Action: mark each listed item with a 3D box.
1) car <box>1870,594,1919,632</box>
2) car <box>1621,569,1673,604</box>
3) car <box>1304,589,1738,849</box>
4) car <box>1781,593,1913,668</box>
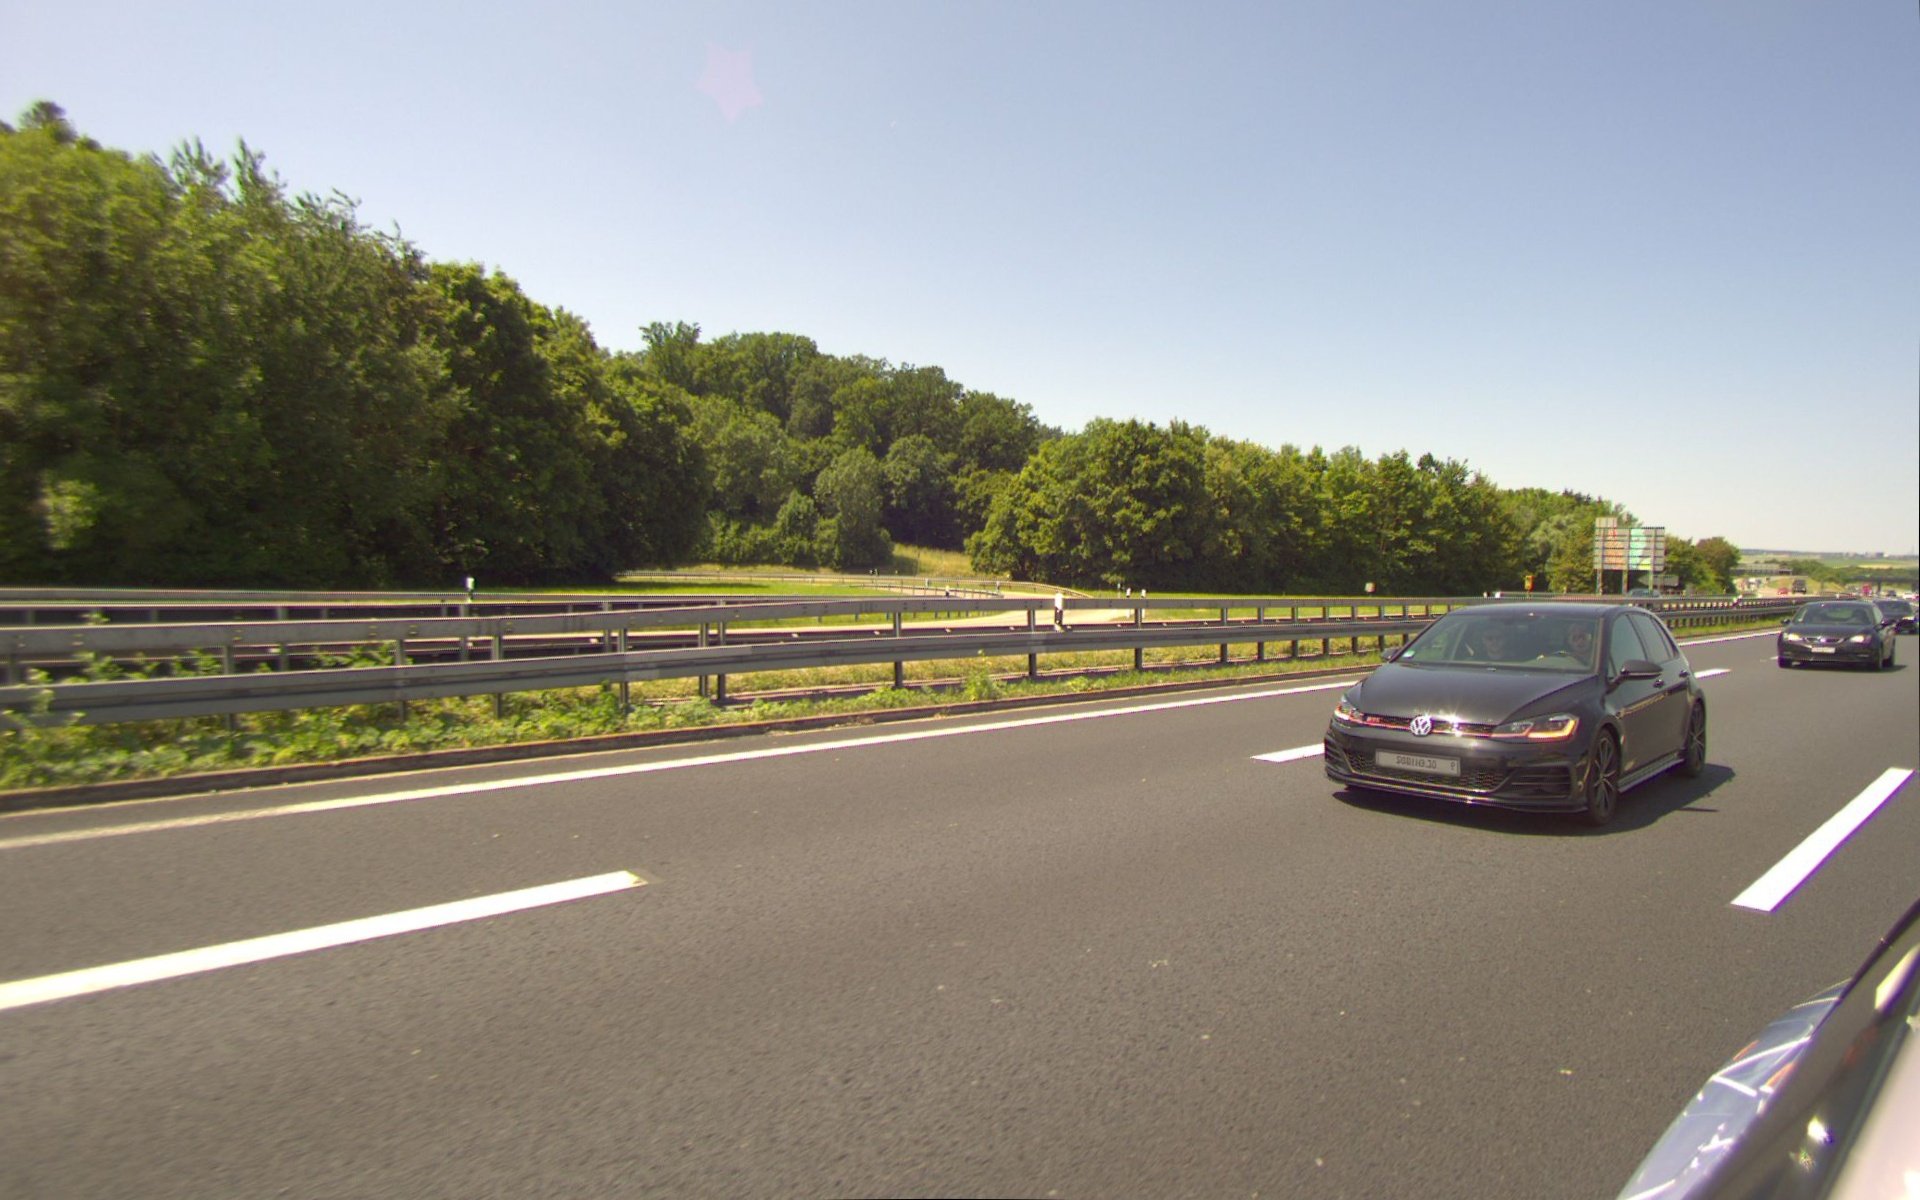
[{"bbox_3d":[39.767,0.531,42.780,1.886,1.491,3.807,1,1,43],"label":"car"},{"bbox_3d":[42.346,-0.836,62.361,1.994,2.039,3.937,2,2,44],"label":"car"},{"bbox_3d":[4.468,0.664,7.812,3.899,1.453,1.797,-1,1,-42],"label":"car"},{"bbox_3d":[19.104,0.582,21.755,3.698,1.417,1.779,-1,1,-43],"label":"car"}]
